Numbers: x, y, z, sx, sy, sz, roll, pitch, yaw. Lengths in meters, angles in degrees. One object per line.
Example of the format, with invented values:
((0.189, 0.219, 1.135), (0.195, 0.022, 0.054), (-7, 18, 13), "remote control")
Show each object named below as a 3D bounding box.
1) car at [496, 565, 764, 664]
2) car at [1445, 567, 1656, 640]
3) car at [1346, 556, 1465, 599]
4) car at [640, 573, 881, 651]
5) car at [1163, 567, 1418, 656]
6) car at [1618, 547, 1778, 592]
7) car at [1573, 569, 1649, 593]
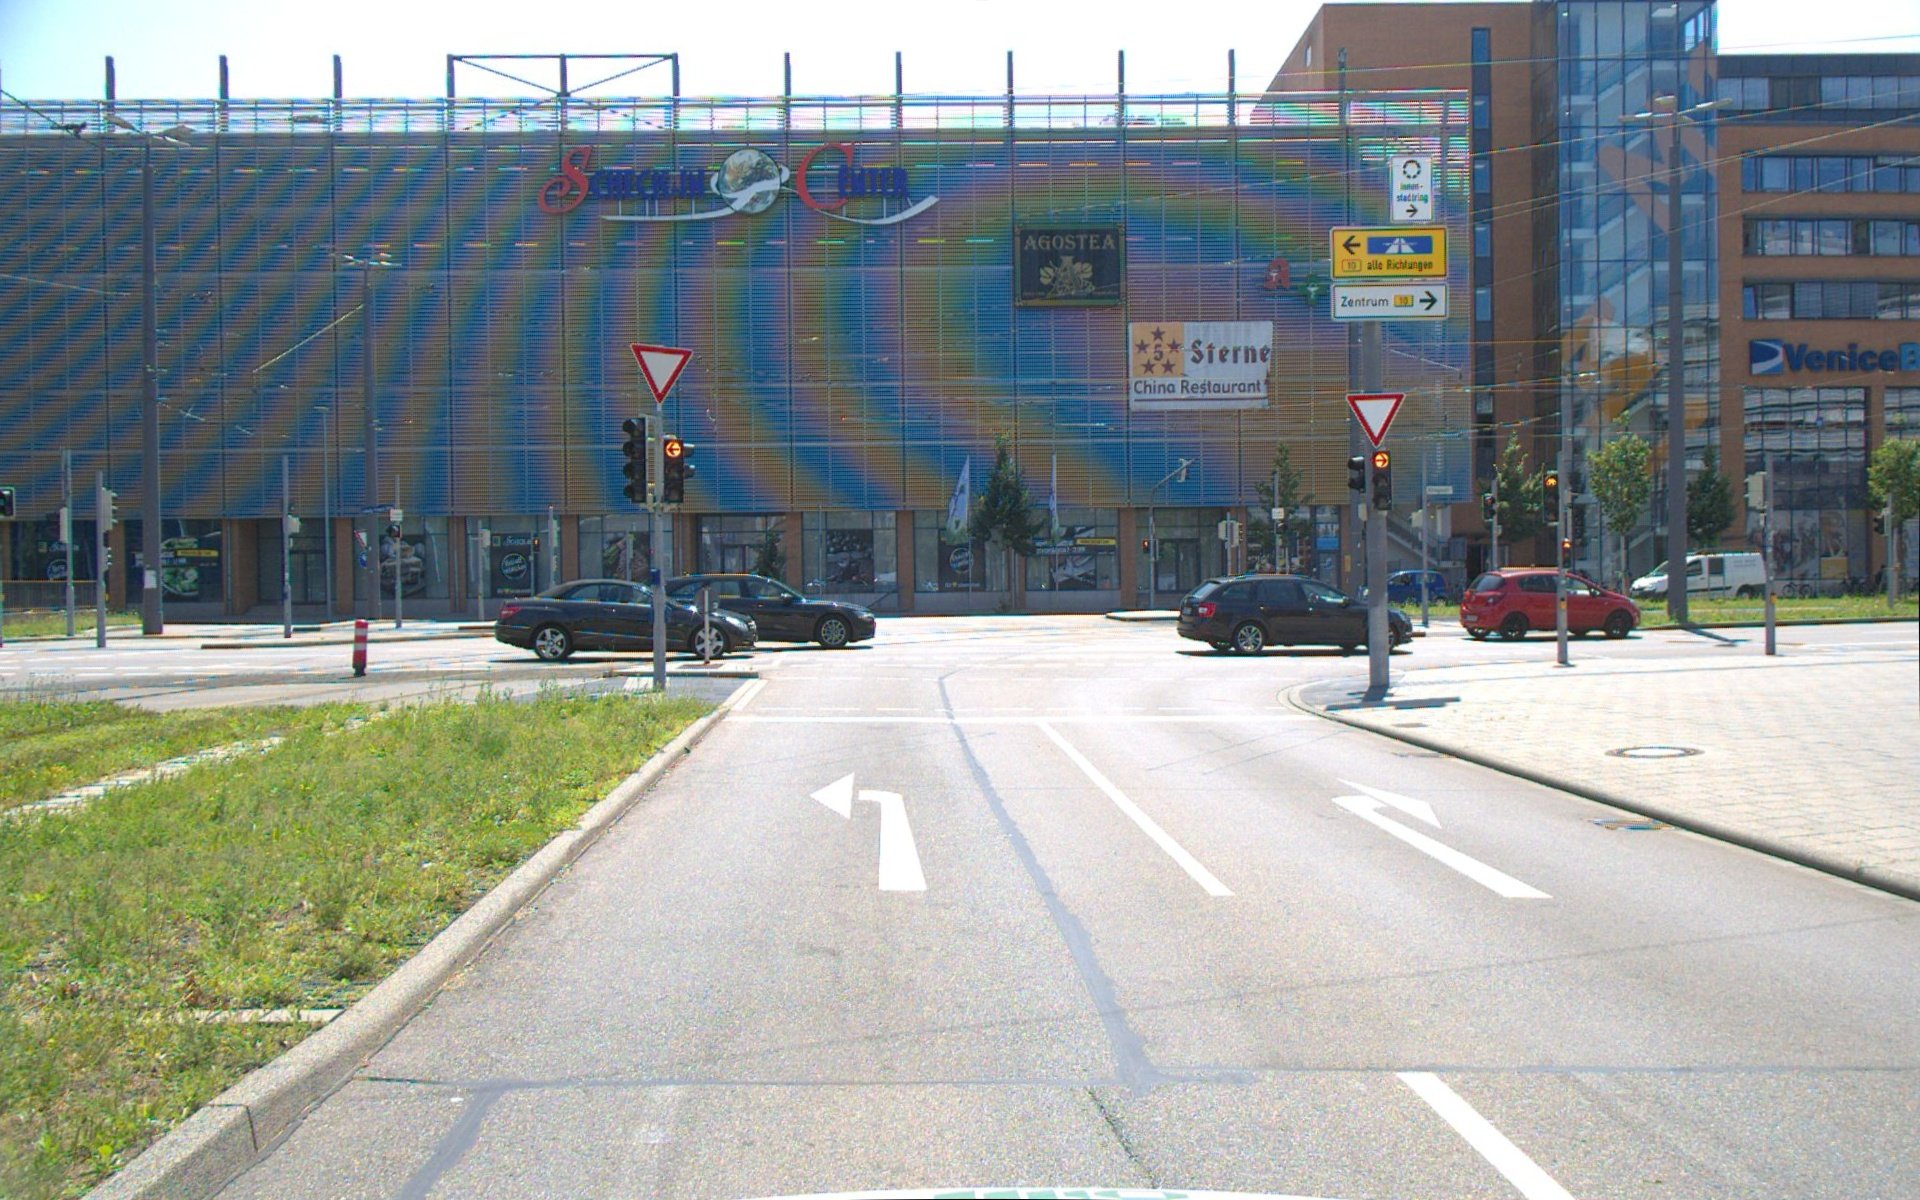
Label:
((-5.814, 0.229, 29.610), (4.460, 1.603, 1.998), (-1, 1, -5), "car")
((12.984, 0.050, 36.446), (4.054, 1.534, 1.836), (0, 1, -13), "car")
((16.549, -0.857, 61.531), (3.908, 1.565, 1.880), (0, 1, -4), "car")
((-3.955, 0.217, 33.253), (4.671, 1.485, 1.886), (0, 1, -5), "car")
((6.317, 0.192, 31.814), (4.442, 1.534, 1.839), (-1, 2, -9), "car")
((28.131, -1.169, 63.128), (5.360, 1.697, 1.997), (0, 1, -8), "car")
((29.308, -0.859, 74.494), (2.935, 1.053, 1.349), (0, 1, -5), "car")
